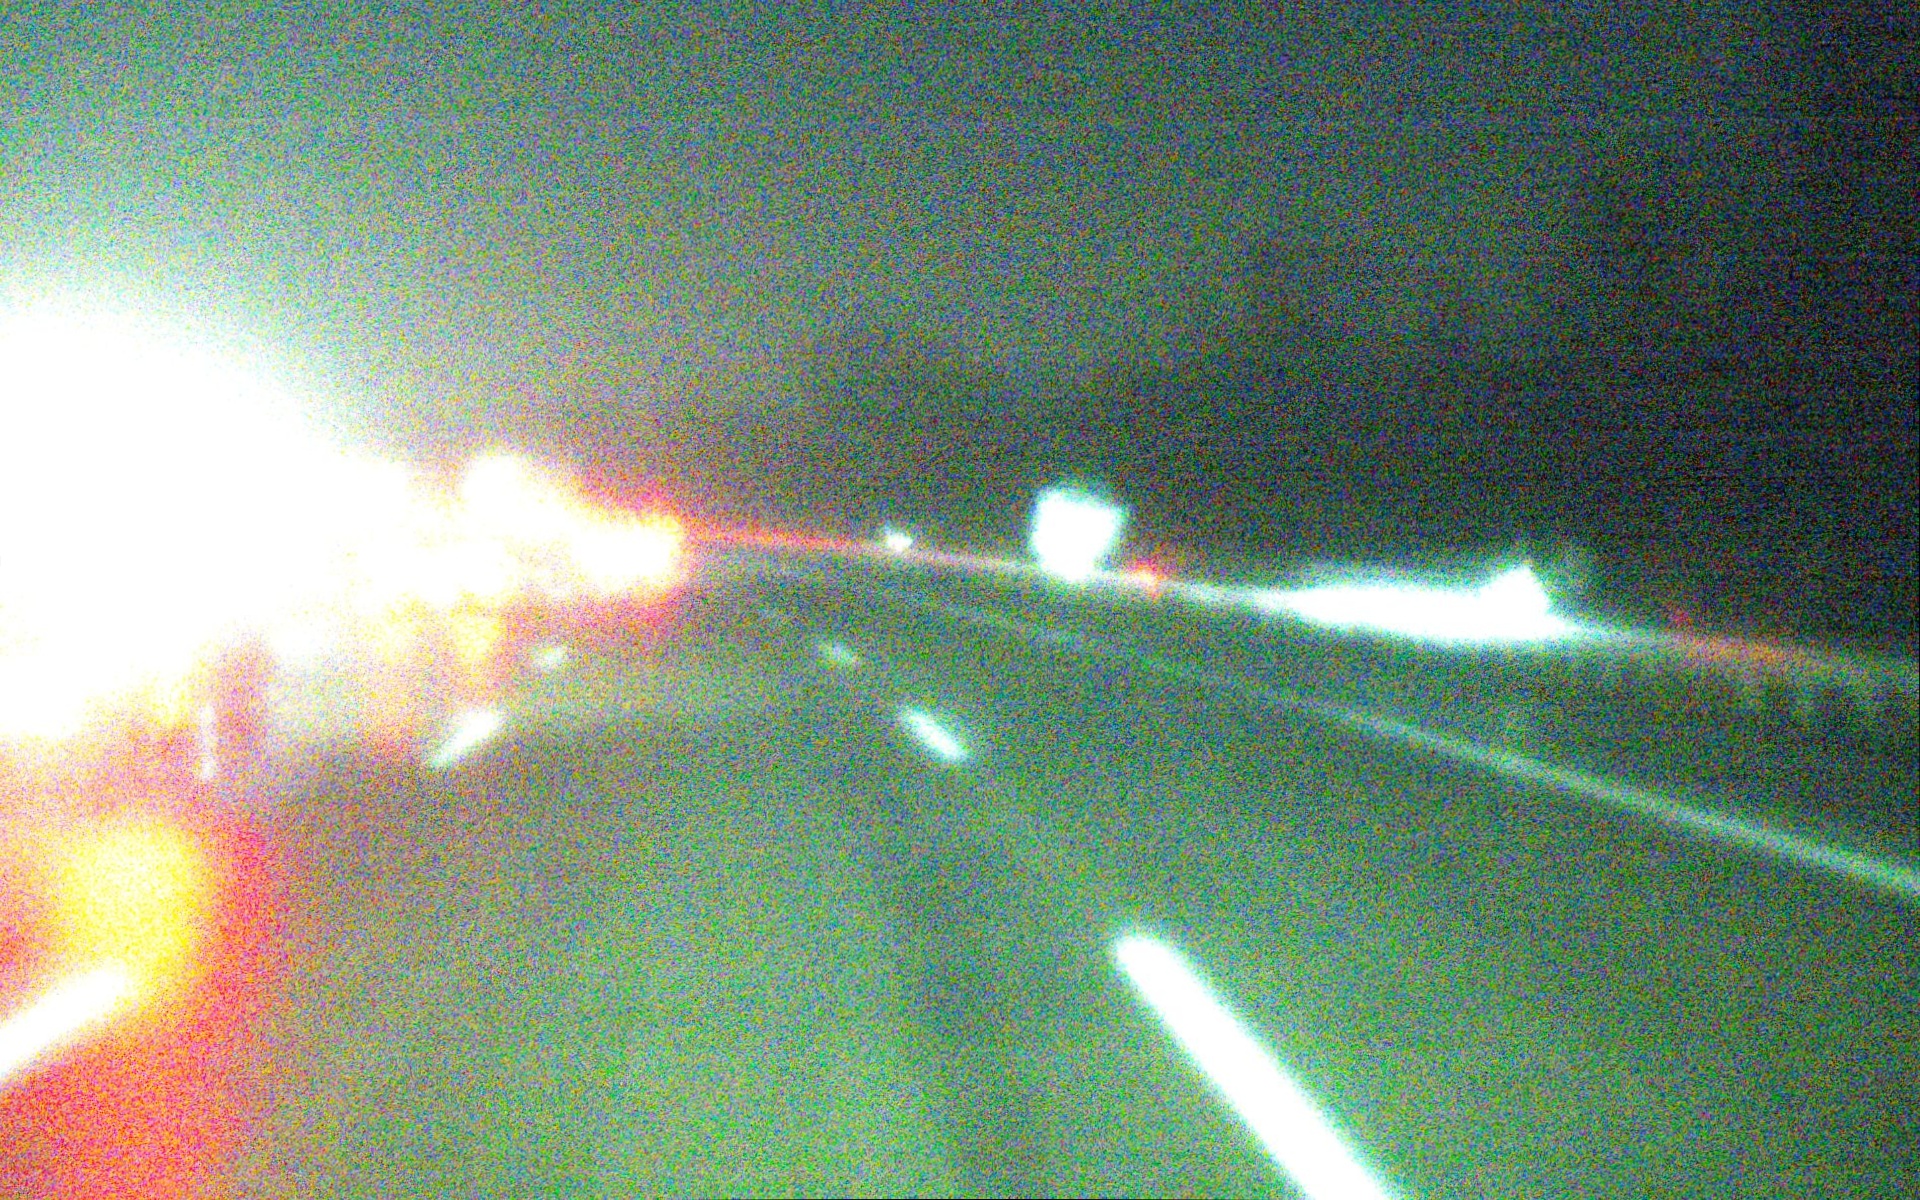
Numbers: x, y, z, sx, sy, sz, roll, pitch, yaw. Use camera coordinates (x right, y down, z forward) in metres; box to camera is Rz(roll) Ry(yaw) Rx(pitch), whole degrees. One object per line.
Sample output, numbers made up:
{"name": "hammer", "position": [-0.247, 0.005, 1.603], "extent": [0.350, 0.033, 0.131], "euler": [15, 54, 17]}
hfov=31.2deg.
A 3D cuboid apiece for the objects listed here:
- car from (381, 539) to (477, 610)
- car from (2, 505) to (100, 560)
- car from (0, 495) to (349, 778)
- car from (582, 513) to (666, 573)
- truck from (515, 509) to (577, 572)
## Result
{"name": "car", "position": [-9.679, -0.460, 62.719], "extent": [1.662, 1.232, 3.762], "euler": [1, 0, -8]}
{"name": "car", "position": [-25.646, -1.914, 97.075], "extent": [1.993, 1.487, 4.001], "euler": [1, 1, -5]}
{"name": "car", "position": [-5.345, 0.157, 22.057], "extent": [1.858, 1.535, 4.751], "euler": [4, 1, 0]}
{"name": "car", "position": [-8.516, -1.438, 87.396], "extent": [1.801, 1.482, 4.000], "euler": [0, 1, -1]}
{"name": "truck", "position": [-20.667, -2.930, 171.393], "extent": [1.993, 3.032, 6.467], "euler": [1, 0, -16]}
